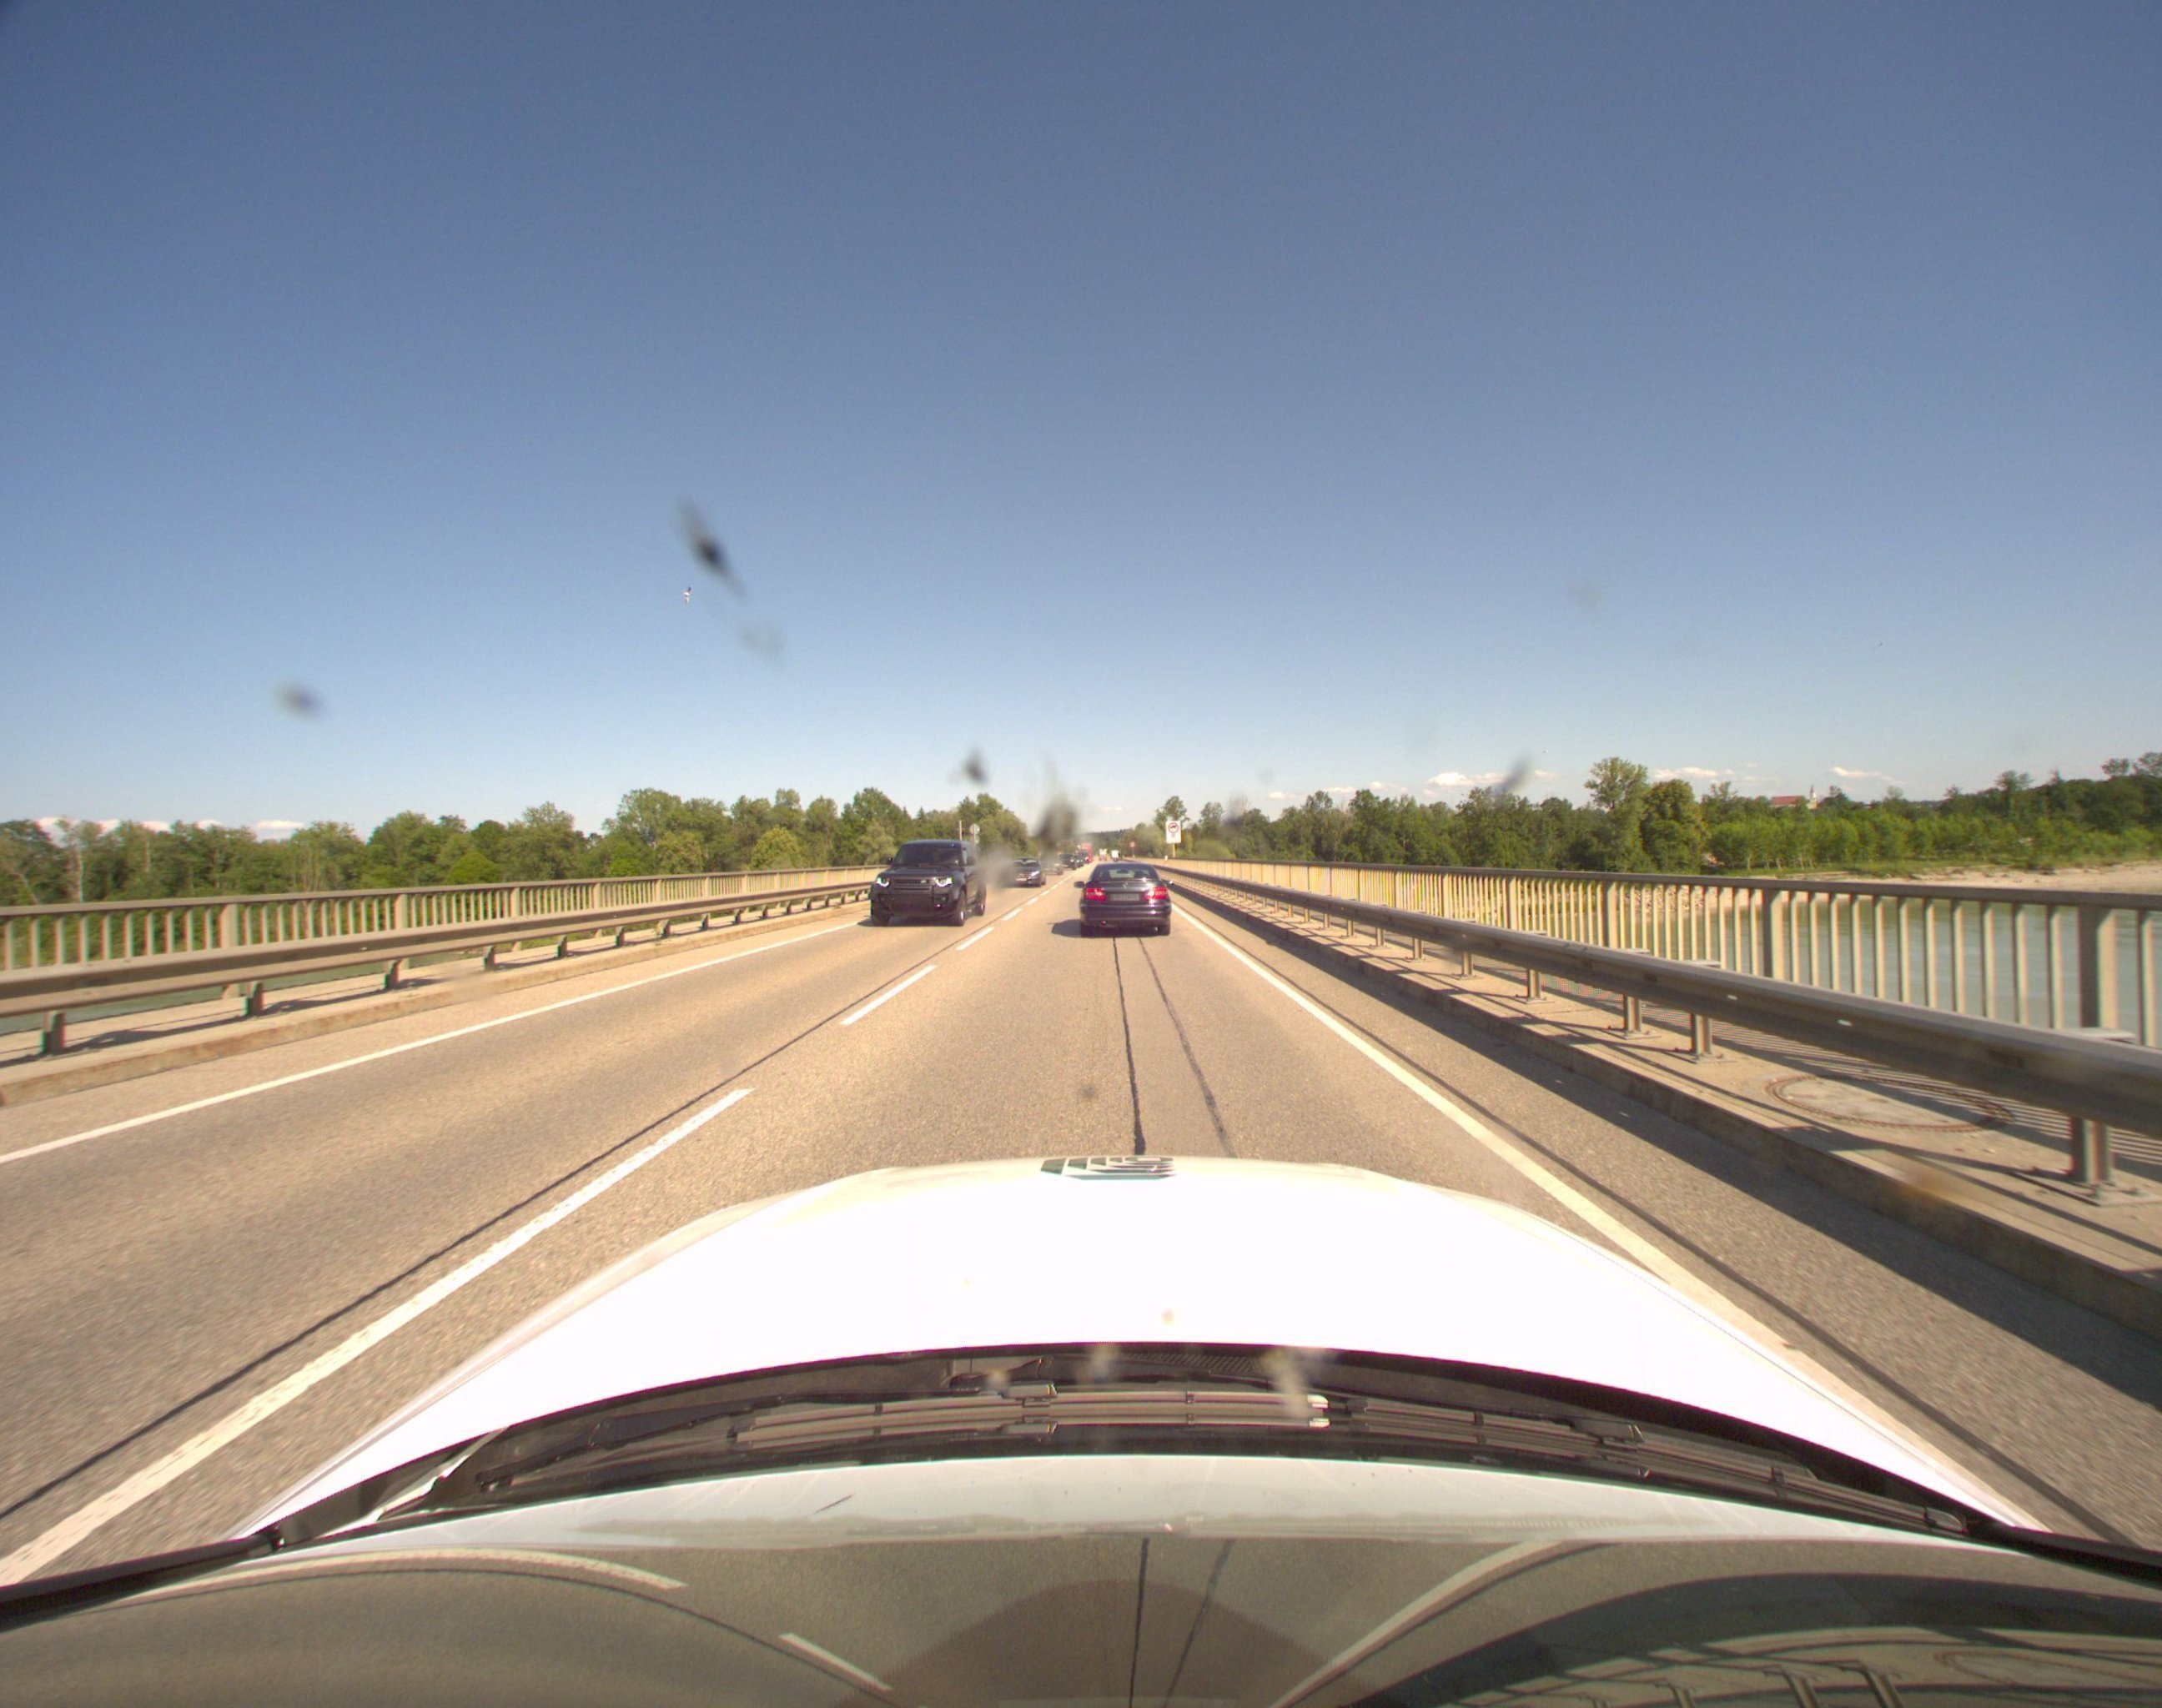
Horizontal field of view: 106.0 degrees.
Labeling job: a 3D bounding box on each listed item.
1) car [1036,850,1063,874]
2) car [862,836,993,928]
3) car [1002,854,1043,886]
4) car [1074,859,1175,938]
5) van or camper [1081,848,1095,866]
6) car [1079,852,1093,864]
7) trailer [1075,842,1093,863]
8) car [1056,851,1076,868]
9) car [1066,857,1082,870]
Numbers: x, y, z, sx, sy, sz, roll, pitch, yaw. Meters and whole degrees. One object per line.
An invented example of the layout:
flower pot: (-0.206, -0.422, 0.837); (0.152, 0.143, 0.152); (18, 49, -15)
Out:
car: (-2.362, 0.557, 62.043); (1.848, 1.722, 4.566); (1, 0, 0)
car: (-3.455, 0.576, 19.414); (2.030, 1.873, 5.071); (-1, 0, 1)
car: (-2.802, 0.718, 39.732); (1.761, 1.447, 4.453); (-1, 0, -2)
car: (0.832, 0.797, 16.385); (1.786, 1.376, 4.002); (0, 0, 2)
van or camper: (1.202, 0.580, 143.503); (2.308, 3.051, 6.816); (0, 0, 0)
car: (0.694, 0.537, 110.307); (1.868, 1.583, 4.273); (-1, 0, 0)
trailer: (0.607, -0.324, 179.108); (2.901, 4.302, 14.284); (0, 0, -3)
car: (-1.554, 0.574, 83.667); (2.048, 1.652, 4.719); (1, 0, -1)
car: (-0.893, 1.134, 98.612); (1.801, 1.577, 4.198); (0, 0, -2)
